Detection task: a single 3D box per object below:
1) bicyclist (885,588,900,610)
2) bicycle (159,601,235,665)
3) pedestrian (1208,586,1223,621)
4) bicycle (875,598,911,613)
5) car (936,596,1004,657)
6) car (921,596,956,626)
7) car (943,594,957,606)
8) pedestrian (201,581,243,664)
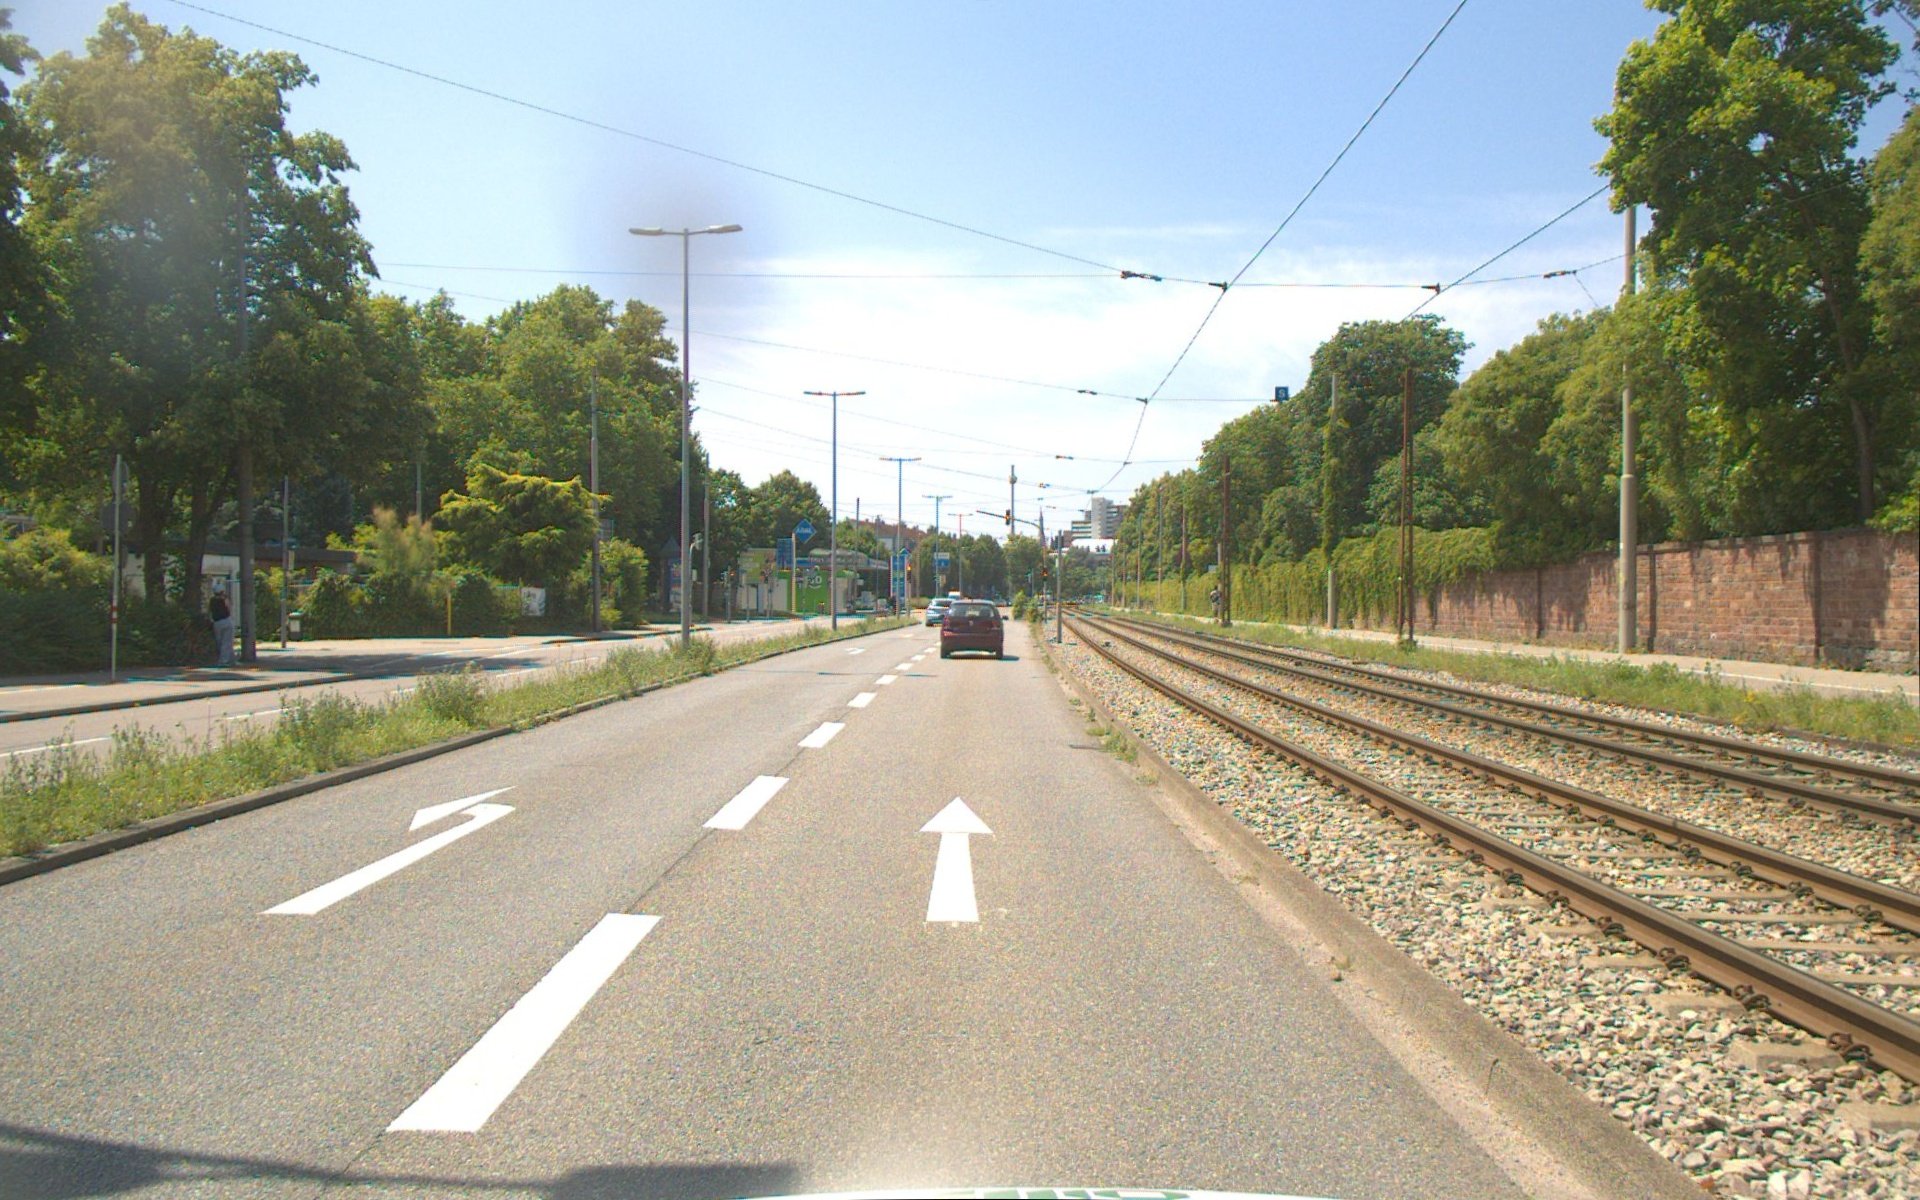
[{"bbox_3d":[-5.044,-0.056,123.914,0.928,1.621,1.084,1,-1,-14],"label":"bicyclist"},{"bbox_3d":[-16.381,0.695,35.557,0.632,1.351,1.574,0,0,14],"label":"bicycle"},{"bbox_3d":[12.895,0.150,83.444,0.648,1.756,0.816,0,0,1],"label":"pedestrian"},{"bbox_3d":[-5.002,0.424,123.888,2.507,1.056,1.084,1,-1,-14],"label":"bicycle"},{"bbox_3d":[0.268,0.661,42.939,1.668,1.503,3.716,1,0,1],"label":"car"},{"bbox_3d":[-1.161,0.582,86.723,1.669,1.506,3.714,1,-1,-3],"label":"car"},{"bbox_3d":[-1.505,-0.025,245.266,1.954,1.624,3.998,1,-1,-3],"label":"car"},{"bbox_3d":[-15.782,0.472,35.371,0.537,1.748,0.604,0,0,15],"label":"pedestrian"}]
